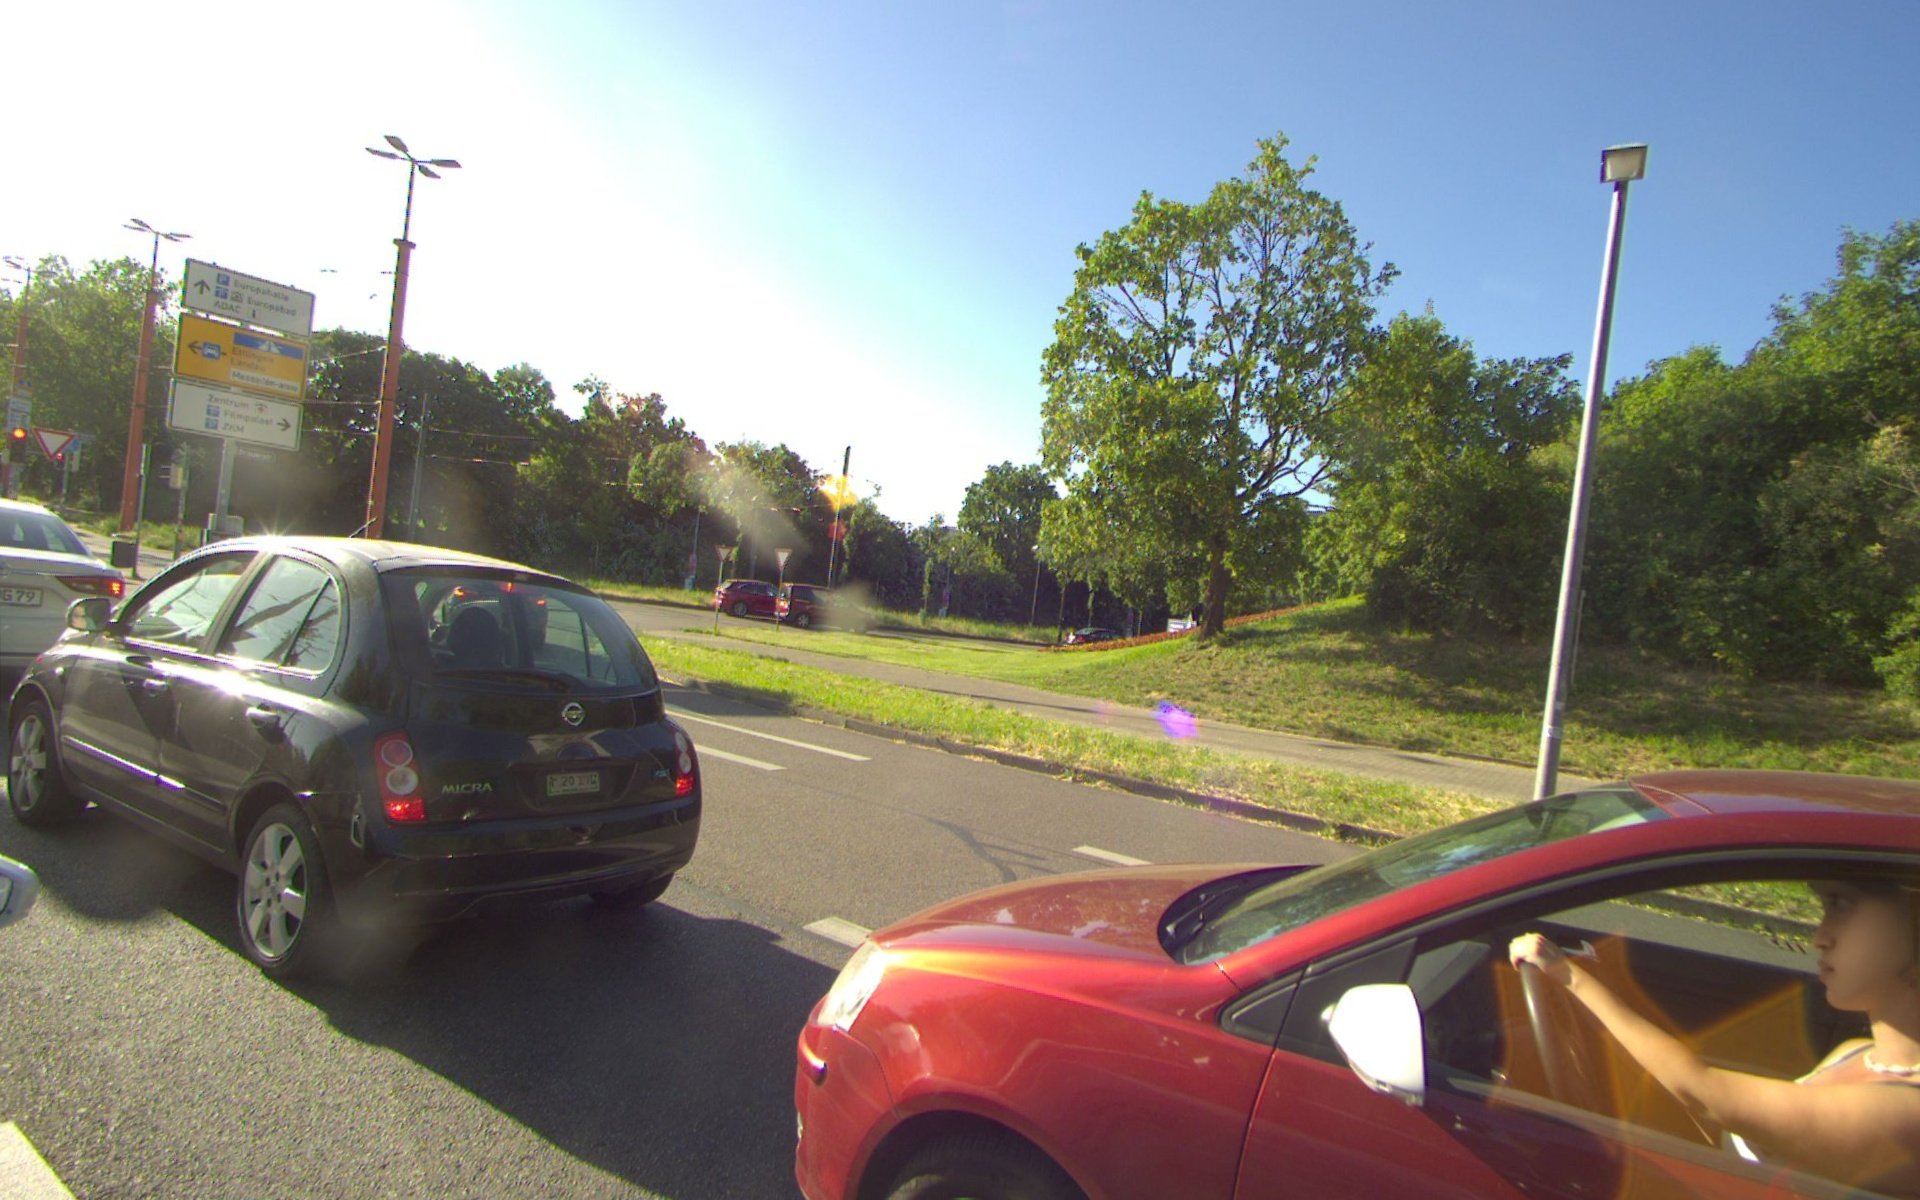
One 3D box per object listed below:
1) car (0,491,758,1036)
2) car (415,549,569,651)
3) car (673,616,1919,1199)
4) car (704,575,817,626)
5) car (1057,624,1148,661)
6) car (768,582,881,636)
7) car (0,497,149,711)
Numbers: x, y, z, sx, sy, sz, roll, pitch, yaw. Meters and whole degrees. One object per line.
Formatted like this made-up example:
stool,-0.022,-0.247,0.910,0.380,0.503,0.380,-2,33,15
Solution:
car,-2.825,0.463,4.634,3.457,1.524,1.558,7,0,32
car,-8.785,-0.053,18.709,1.737,1.487,3.853,7,-1,-37
car,1.367,0.989,1.903,3.634,1.434,1.624,7,-1,34
car,-8.930,0.037,45.159,4.514,1.688,1.829,8,-1,-29
car,7.246,2.173,51.090,4.271,1.343,1.748,8,-1,-29
car,-5.834,0.402,43.340,4.313,1.753,1.828,8,-1,-31
car,-8.351,-0.165,7.987,4.077,1.472,1.717,7,-1,33
